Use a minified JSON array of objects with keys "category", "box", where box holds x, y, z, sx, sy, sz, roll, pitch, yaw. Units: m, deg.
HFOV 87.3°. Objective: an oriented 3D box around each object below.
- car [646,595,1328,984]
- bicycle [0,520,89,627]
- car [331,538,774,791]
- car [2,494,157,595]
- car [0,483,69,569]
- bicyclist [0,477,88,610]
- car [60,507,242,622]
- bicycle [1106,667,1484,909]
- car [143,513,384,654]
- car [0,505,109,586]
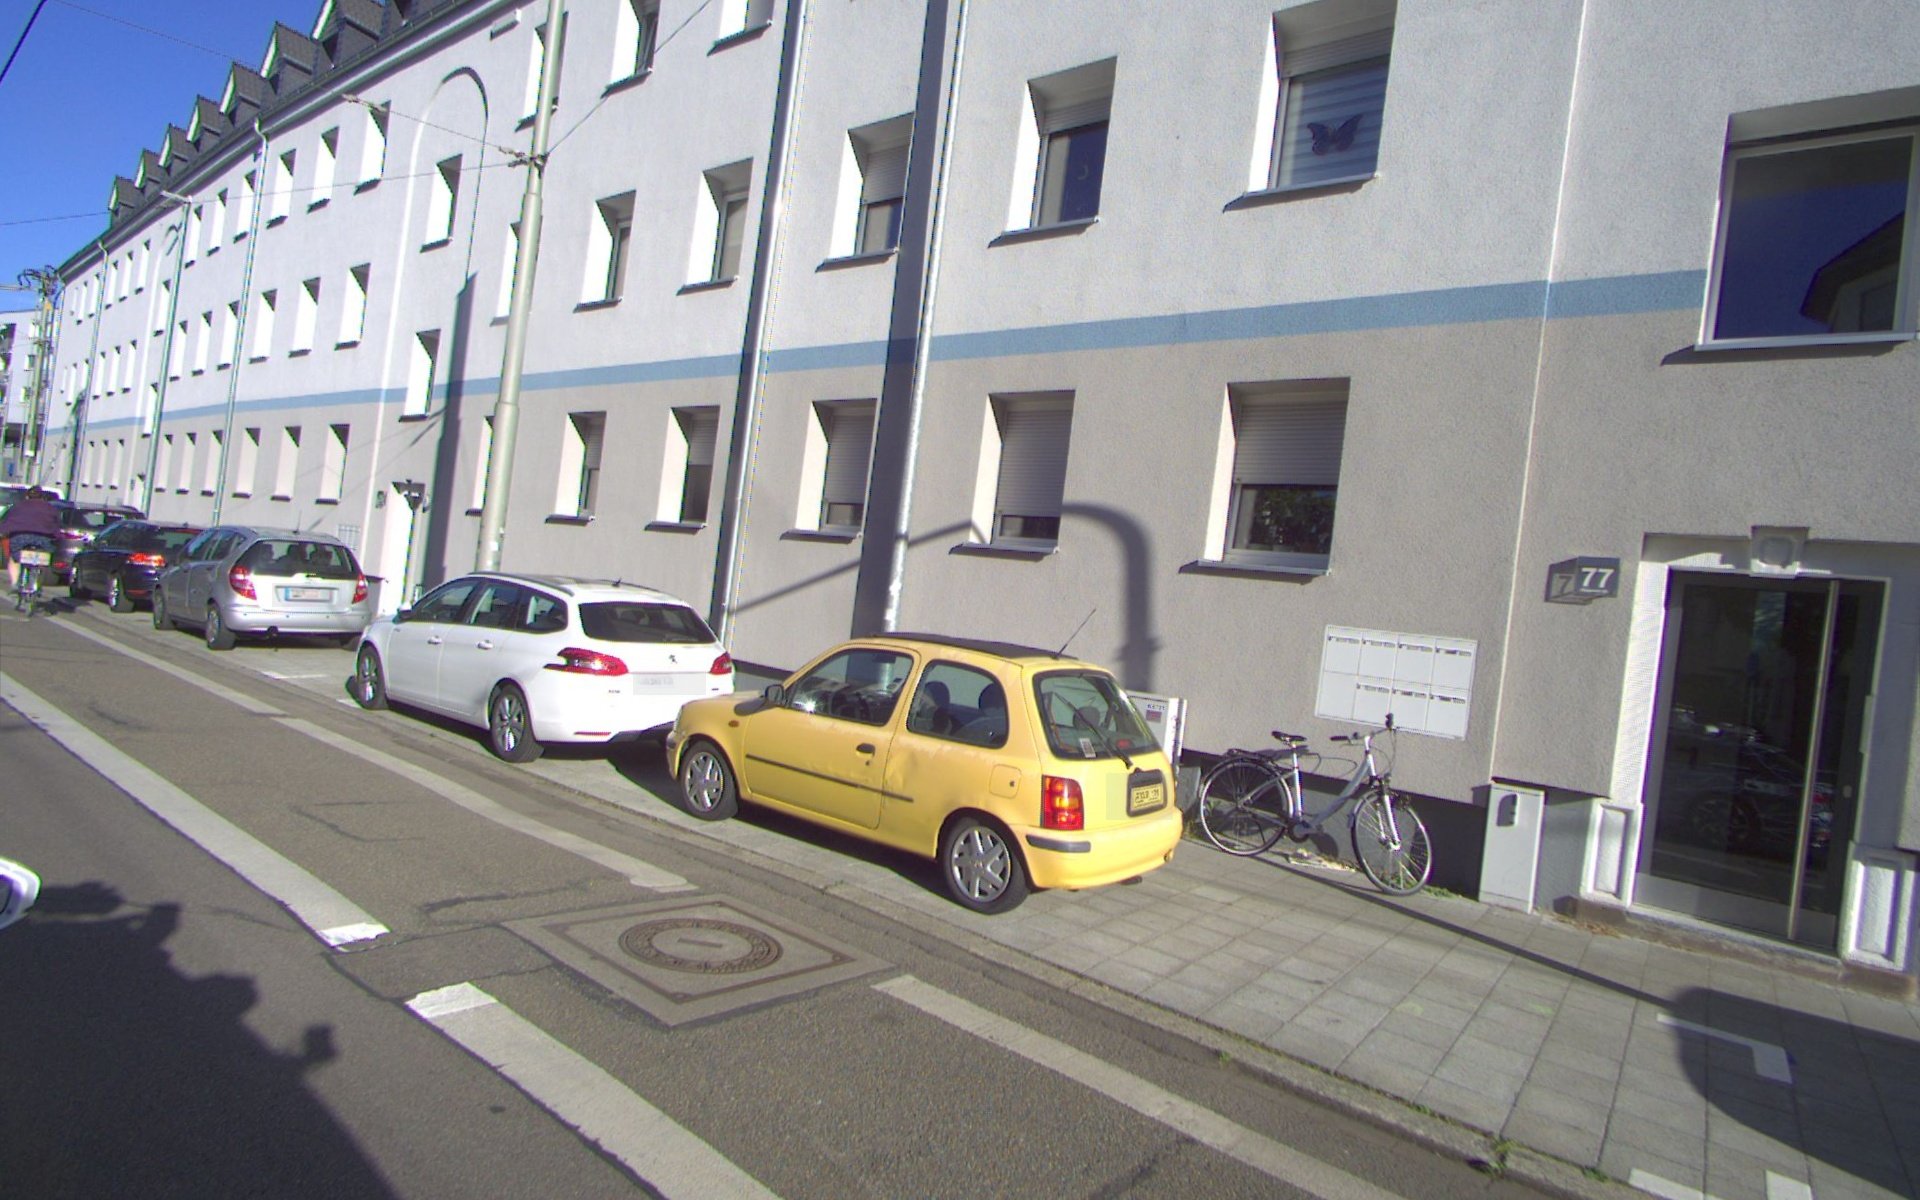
[{"category":"car","box":[-0.049,0.913,6.416,4.138,1.448,1.513,6,0,37]},{"category":"bicycle","box":[-13.217,-0.433,14.129,2.425,1.249,0.822,7,-5,37]},{"category":"car","box":[-3.906,0.442,9.252,4.442,1.591,1.678,7,1,38]},{"category":"car","box":[-17.777,-1.149,20.259,3.846,1.692,1.657,7,2,39]},{"category":"car","box":[-25.105,-2.047,26.441,4.094,1.995,1.785,7,1,39]},{"category":"bicyclist","box":[-12.913,-0.790,13.936,0.955,1.696,0.934,7,0,37]},{"category":"car","box":[-13.793,-0.632,17.077,3.949,1.557,1.589,7,1,40]},{"category":"bicycle","box":[2.404,1.264,7.365,2.291,1.212,1.096,7,-1,37]},{"category":"car","box":[-9.852,-0.267,14.128,3.847,1.592,1.751,7,2,39]},{"category":"car","box":[-21.529,-1.329,23.448,3.723,1.501,1.795,7,-1,39]}]
